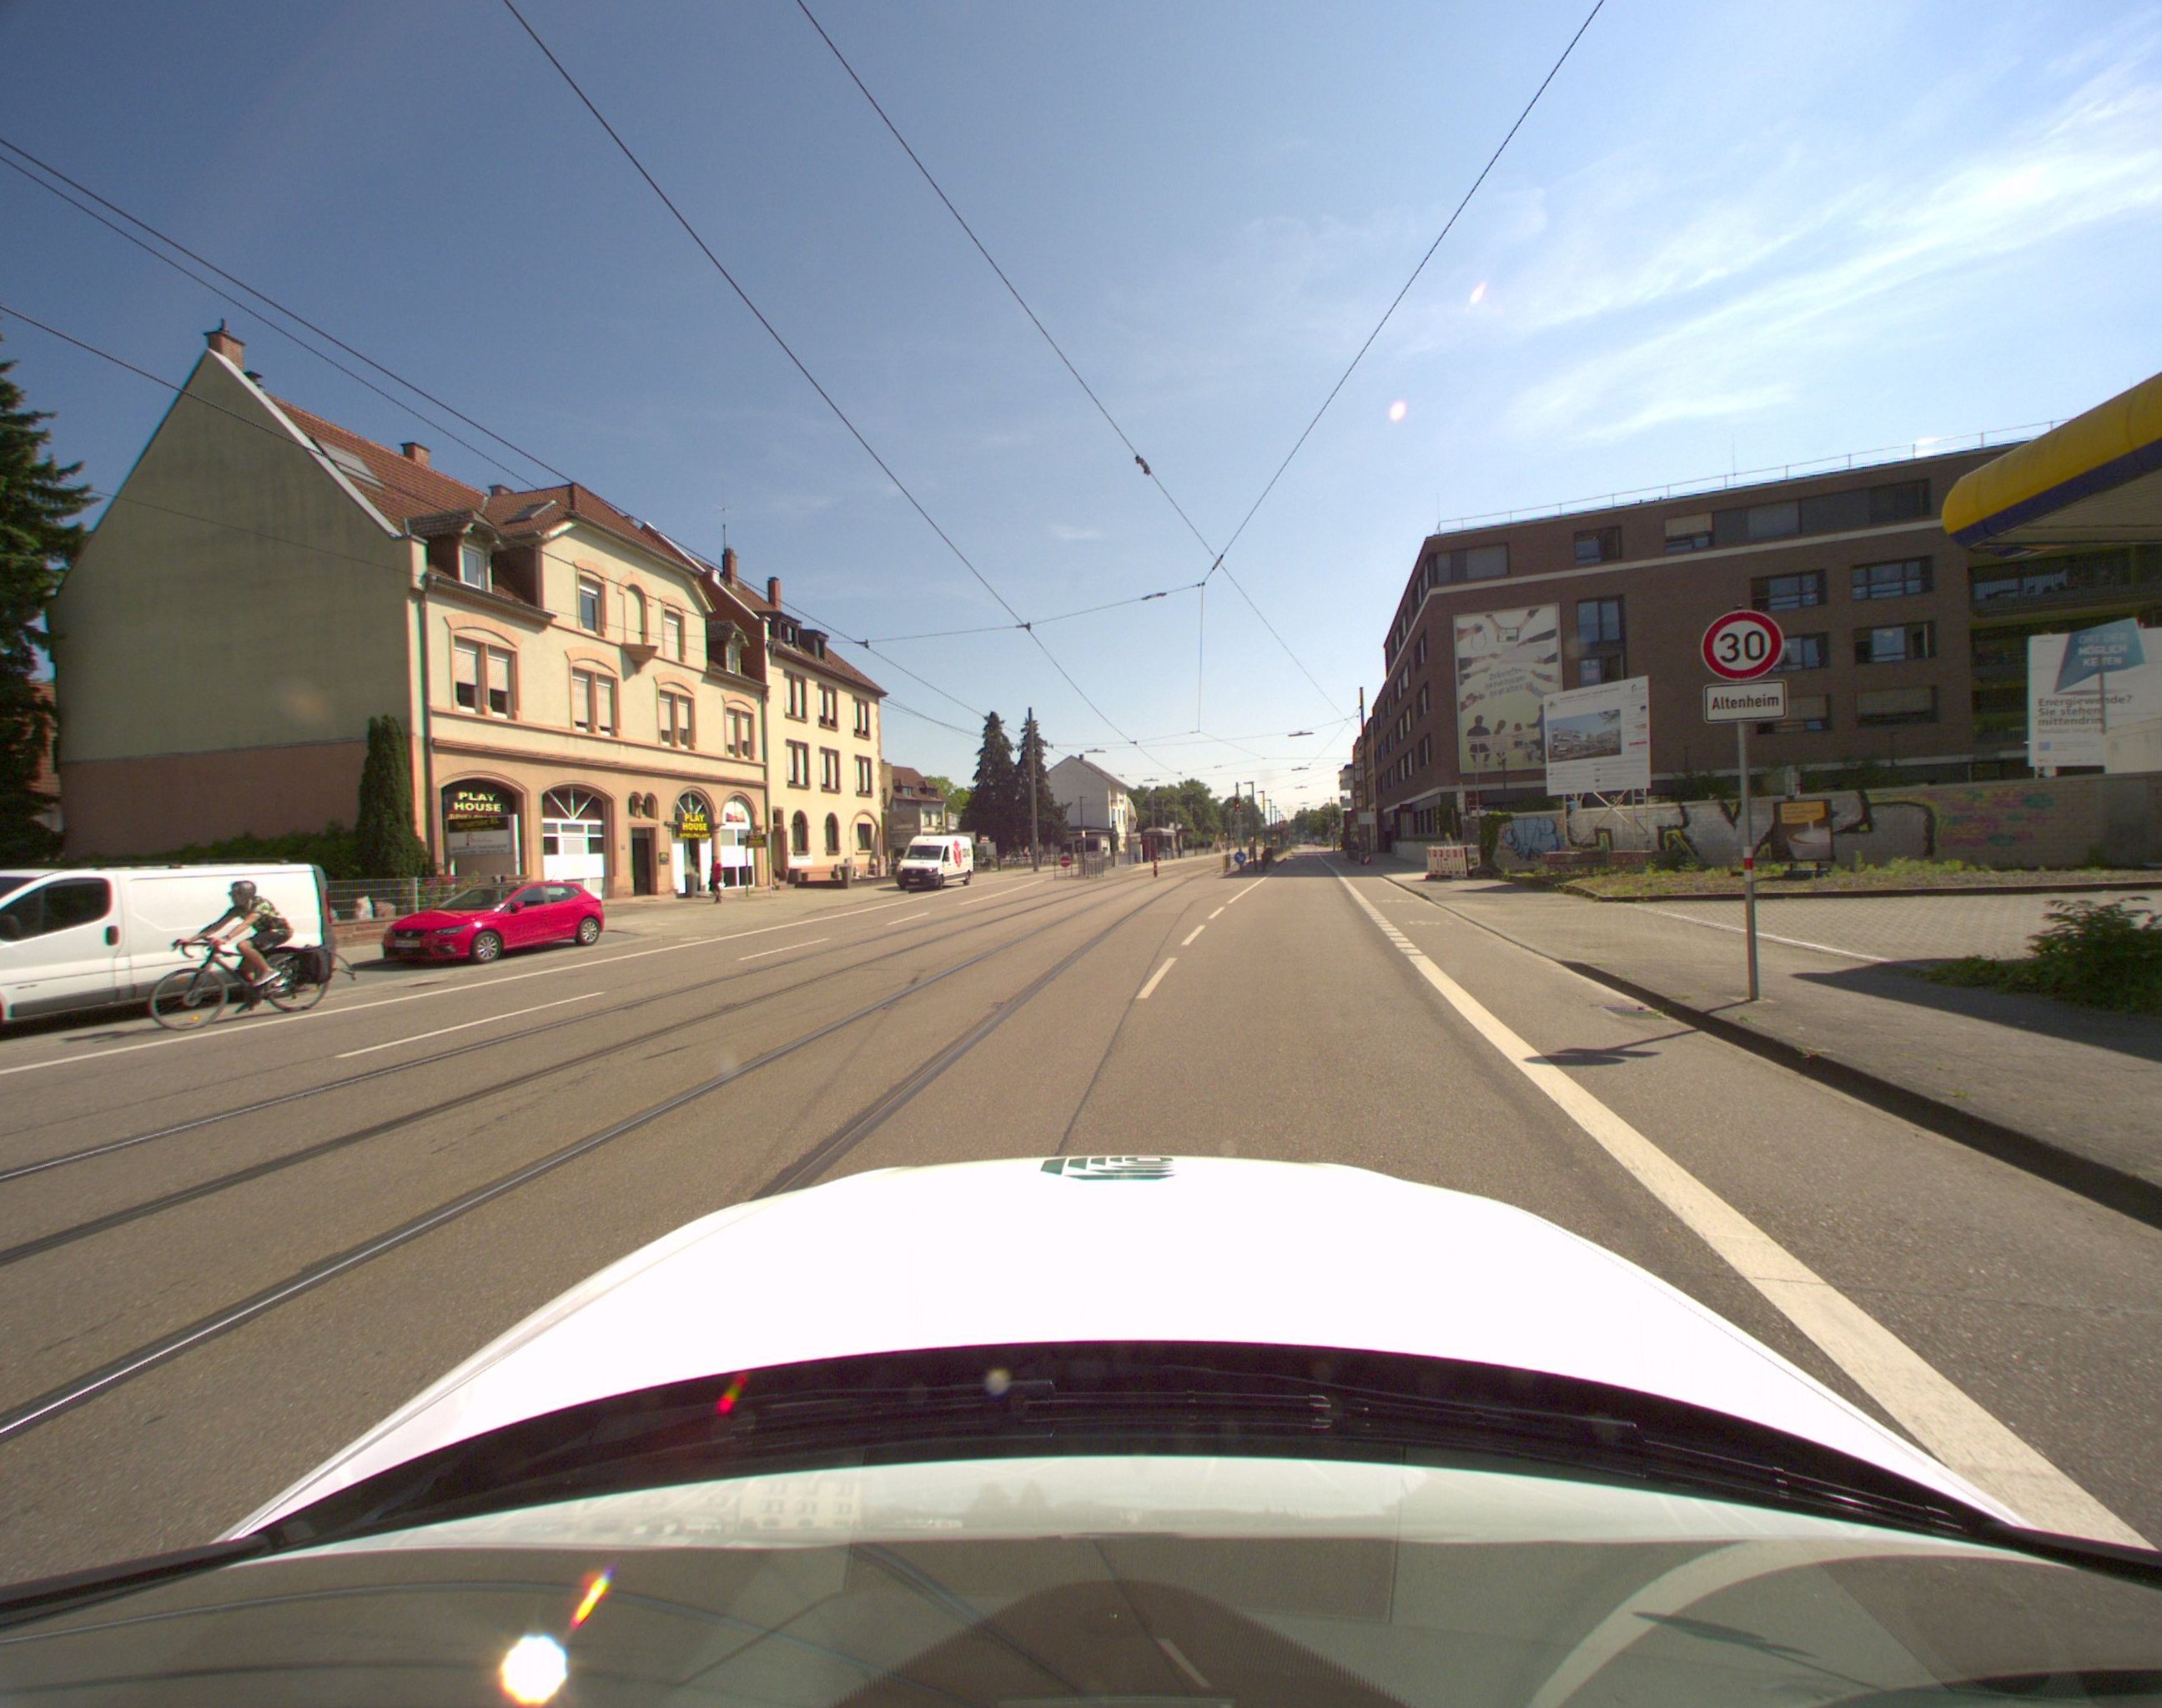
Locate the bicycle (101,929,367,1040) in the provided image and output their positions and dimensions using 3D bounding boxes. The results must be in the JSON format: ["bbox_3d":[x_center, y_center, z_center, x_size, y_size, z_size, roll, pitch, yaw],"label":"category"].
[{"bbox_3d":[-10.158,1.514,9.914,0.604,0.984,2.174,-2,0,17],"label":"bicycle"}]

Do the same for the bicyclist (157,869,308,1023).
[{"bbox_3d":[-10.244,1.078,9.864,0.710,1.724,0.993,-3,0,18],"label":"bicyclist"}]

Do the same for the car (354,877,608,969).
[{"bbox_3d":[-11.757,1.285,16.353,1.710,1.406,4.011,-3,0,9],"label":"car"}]

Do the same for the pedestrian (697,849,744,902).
[{"bbox_3d":[-12.957,0.769,29.310,0.935,1.815,1.135,-2,0,17],"label":"pedestrian"}]

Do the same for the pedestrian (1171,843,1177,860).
[{"bbox_3d":[9.371,-0.240,82.216,0.413,1.690,0.708,-3,0,1],"label":"pedestrian"}]

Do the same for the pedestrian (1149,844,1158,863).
[{"bbox_3d":[6.365,-0.038,71.666,0.701,1.690,0.417,-3,0,7],"label":"pedestrian"}]

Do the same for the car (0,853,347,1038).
[{"bbox_3d":[-12.829,1.047,10.346,2.071,2.013,4.921,-2,0,9],"label":"car"}]

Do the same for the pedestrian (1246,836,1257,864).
[{"bbox_3d":[11.077,-0.265,52.993,0.552,1.760,0.795,-3,0,9],"label":"pedestrian"}]

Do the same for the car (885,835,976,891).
[{"bbox_3d":[-7.235,0.358,40.082,2.315,2.535,6.524,0,1,9],"label":"car"}]
